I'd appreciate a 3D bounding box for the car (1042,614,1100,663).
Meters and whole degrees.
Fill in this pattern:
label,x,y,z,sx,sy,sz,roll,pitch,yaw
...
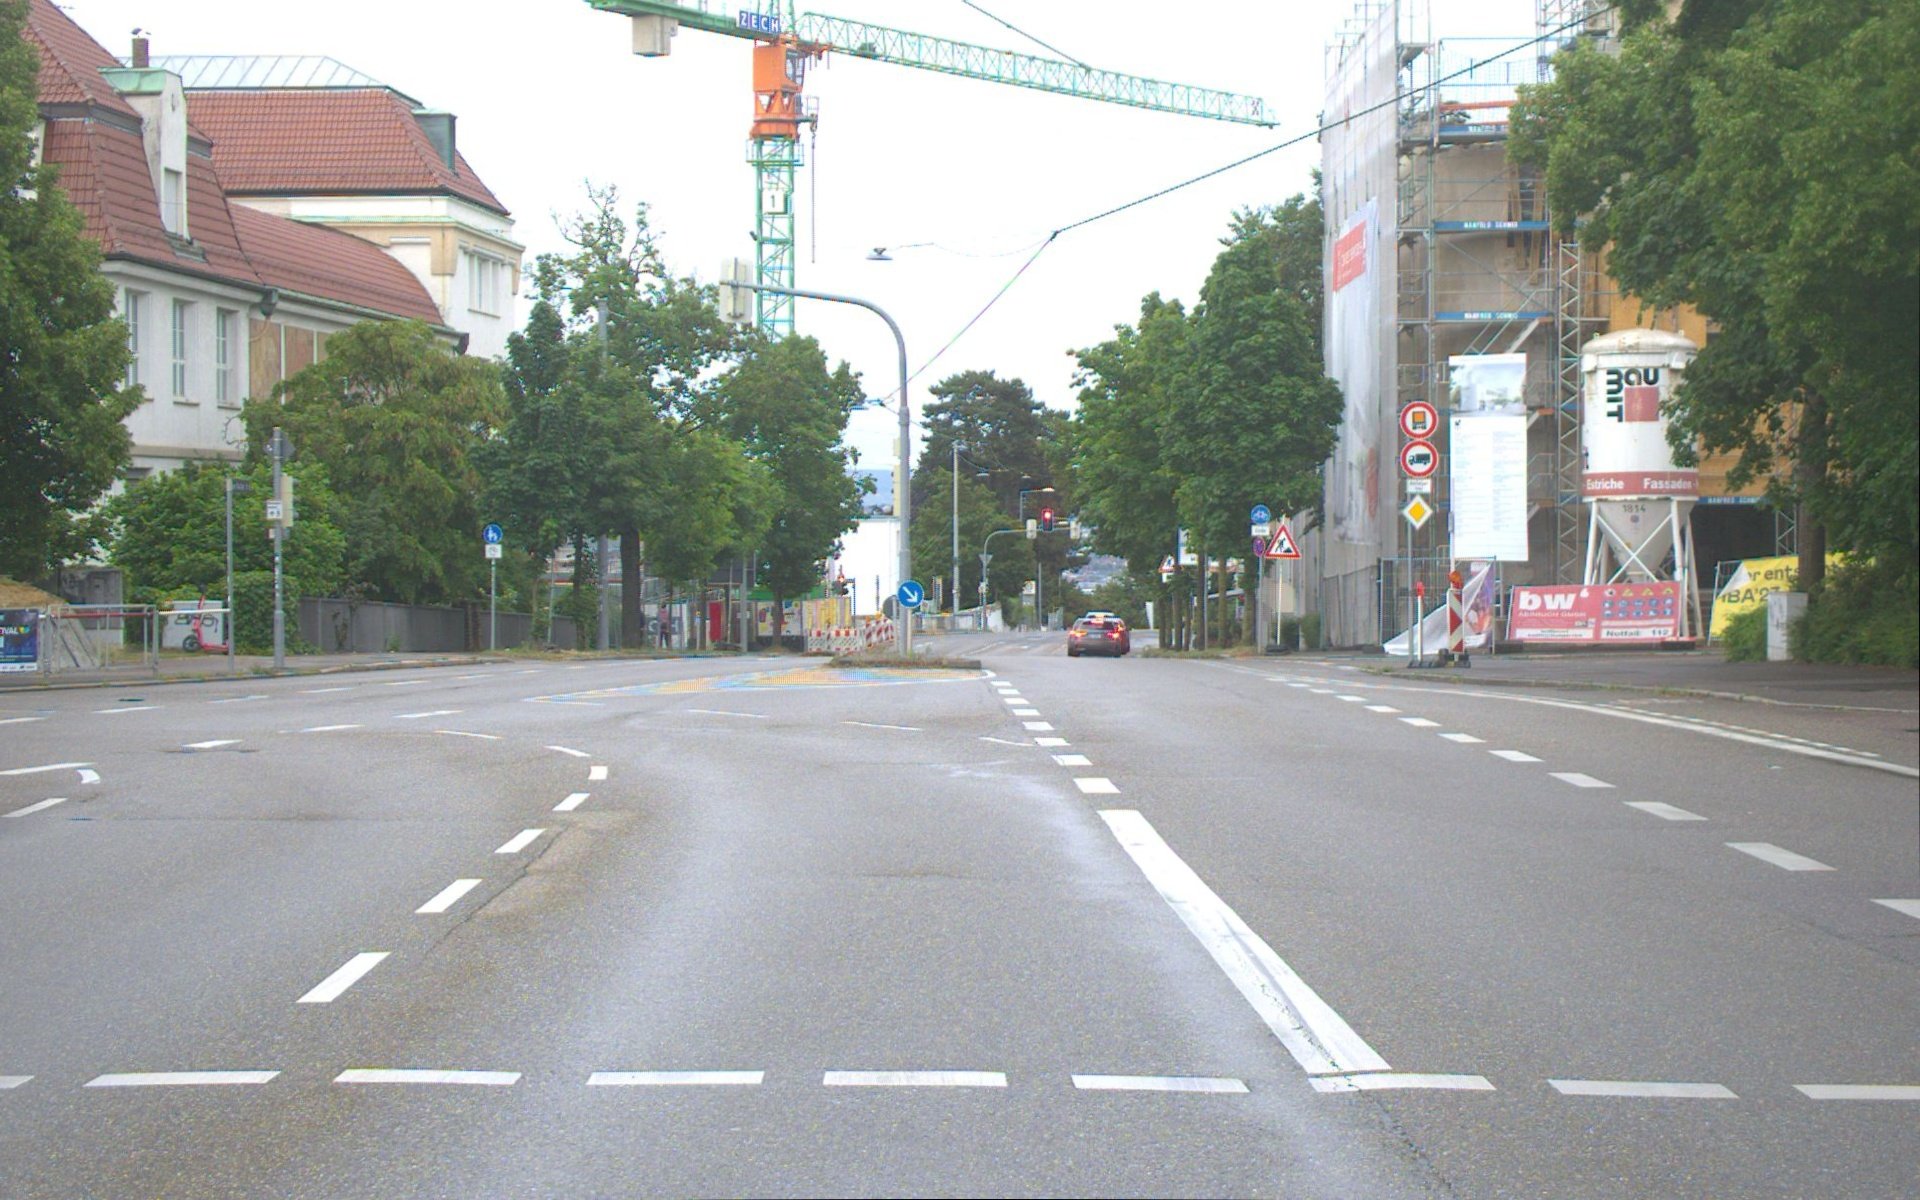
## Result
label,x,y,z,sx,sy,sz,roll,pitch,yaw
car,4.223,1.449,131.706,1.993,1.744,4.000,-1,1,-1

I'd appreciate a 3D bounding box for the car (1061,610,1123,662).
label,x,y,z,sx,sy,sz,roll,pitch,yaw
car,4.772,1.298,124.911,1.993,1.744,4.000,-1,1,-1

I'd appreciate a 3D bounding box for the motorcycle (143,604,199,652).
label,x,y,z,sx,sy,sz,roll,pitch,yaw
motorcycle,-14.853,0.531,64.768,0.849,0.874,0.877,1,0,-1

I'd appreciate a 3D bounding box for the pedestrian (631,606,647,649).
label,x,y,z,sx,sy,sz,roll,pitch,yaw
pedestrian,-10.602,0.906,113.661,0.474,1.392,0.411,-1,1,-1

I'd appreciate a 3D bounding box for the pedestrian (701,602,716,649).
label,x,y,z,sx,sy,sz,roll,pitch,yaw
pedestrian,-8.867,0.895,121.275,0.493,1.640,0.534,1,0,-6

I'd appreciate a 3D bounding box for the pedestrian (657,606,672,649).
label,x,y,z,sx,sy,sz,roll,pitch,yaw
pedestrian,-9.769,0.905,113.644,0.474,1.392,0.411,0,1,-1

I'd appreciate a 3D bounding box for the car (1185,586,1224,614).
label,x,y,z,sx,sy,sz,roll,pitch,yaw
car,15.620,-0.007,219.341,1.994,1.744,3.998,-1,1,11
